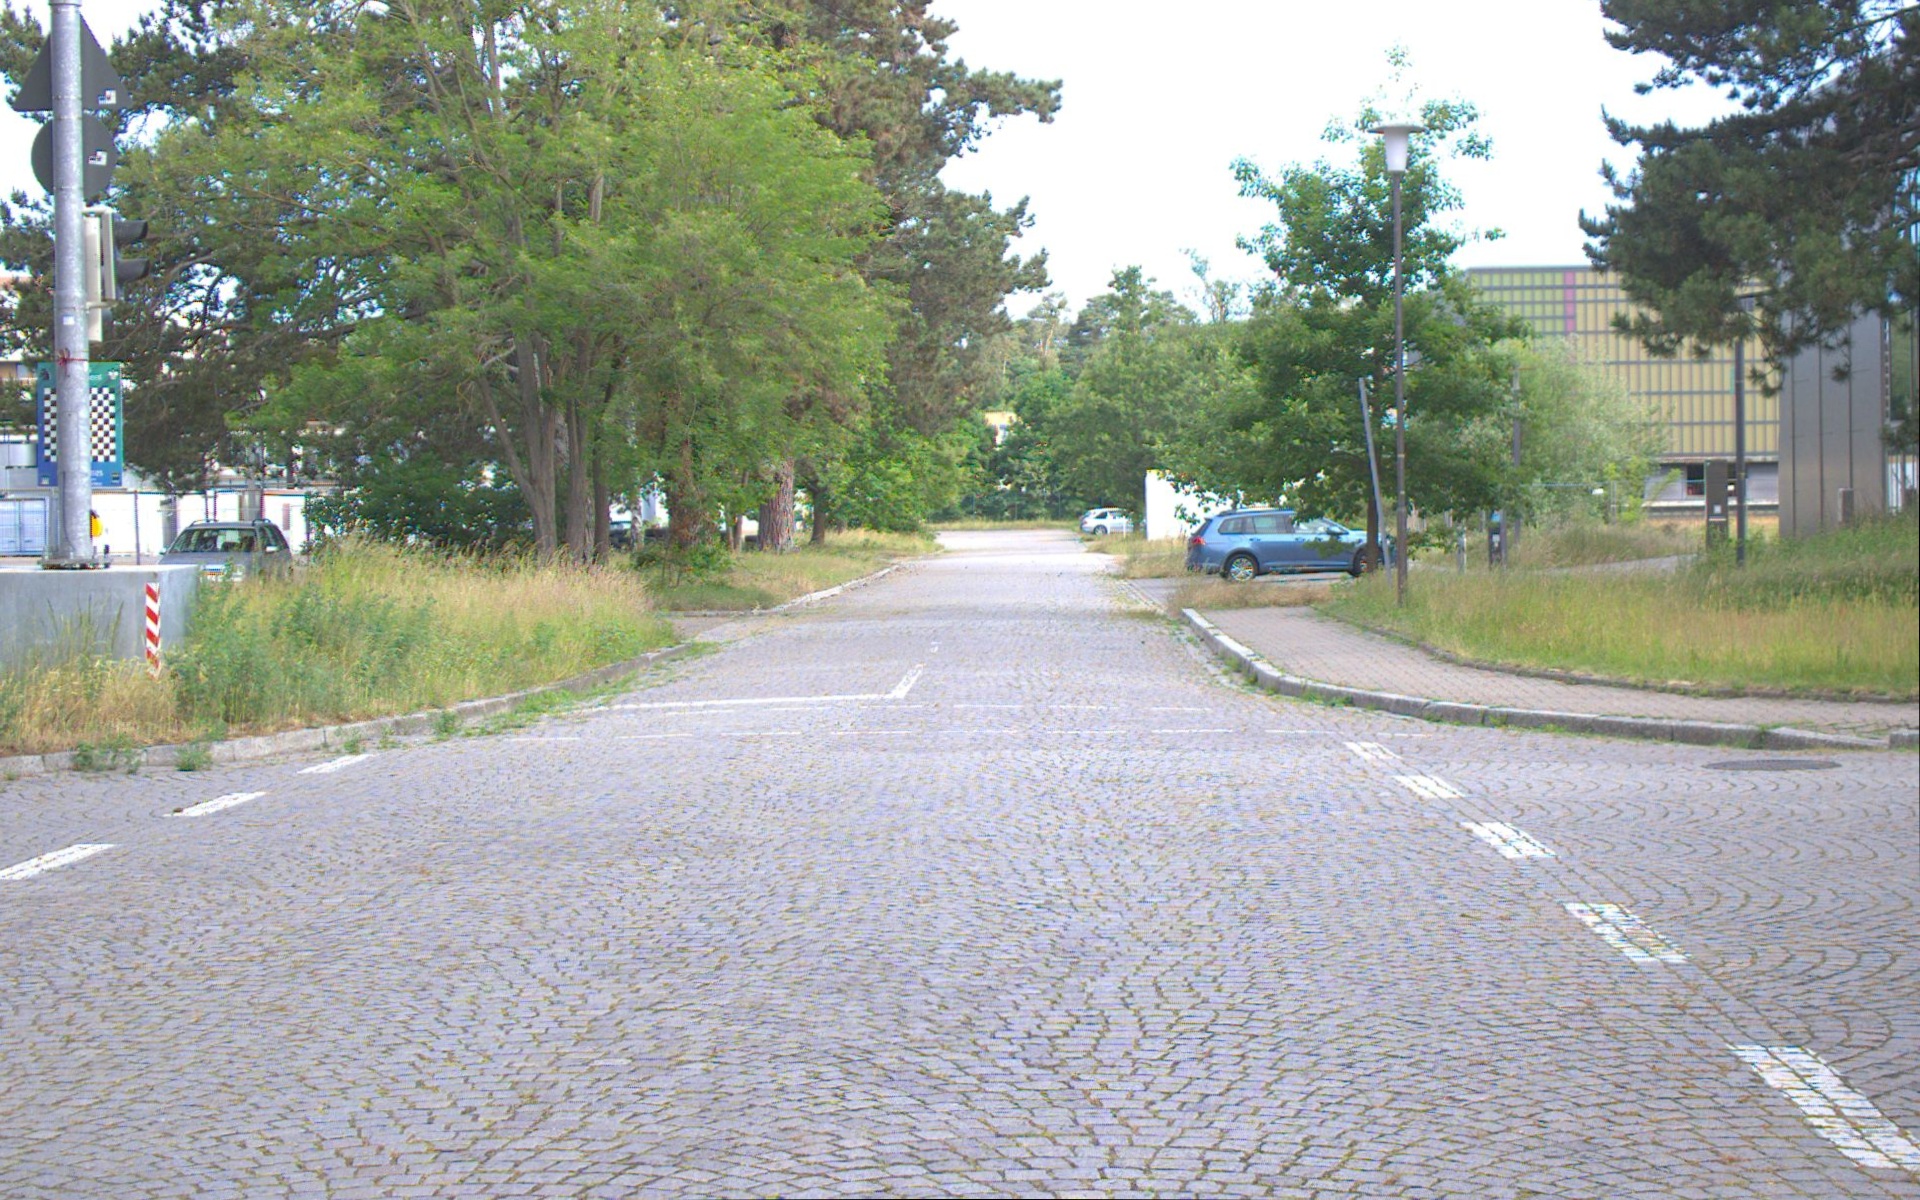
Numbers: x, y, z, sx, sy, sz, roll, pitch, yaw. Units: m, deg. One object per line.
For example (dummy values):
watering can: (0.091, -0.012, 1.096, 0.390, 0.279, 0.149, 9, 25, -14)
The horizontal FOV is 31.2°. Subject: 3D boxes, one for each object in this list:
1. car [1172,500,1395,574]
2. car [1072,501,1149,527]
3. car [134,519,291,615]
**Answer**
car: (6.616, -1.304, 70.648, 4.344, 1.417, 2.000, -1, 2, 0)
car: (8.189, -4.705, 187.689, 3.986, 1.393, 2.000, -1, 2, -4)
car: (-12.198, -0.570, 56.312, 1.613, 1.482, 4.000, -1, 2, 1)
